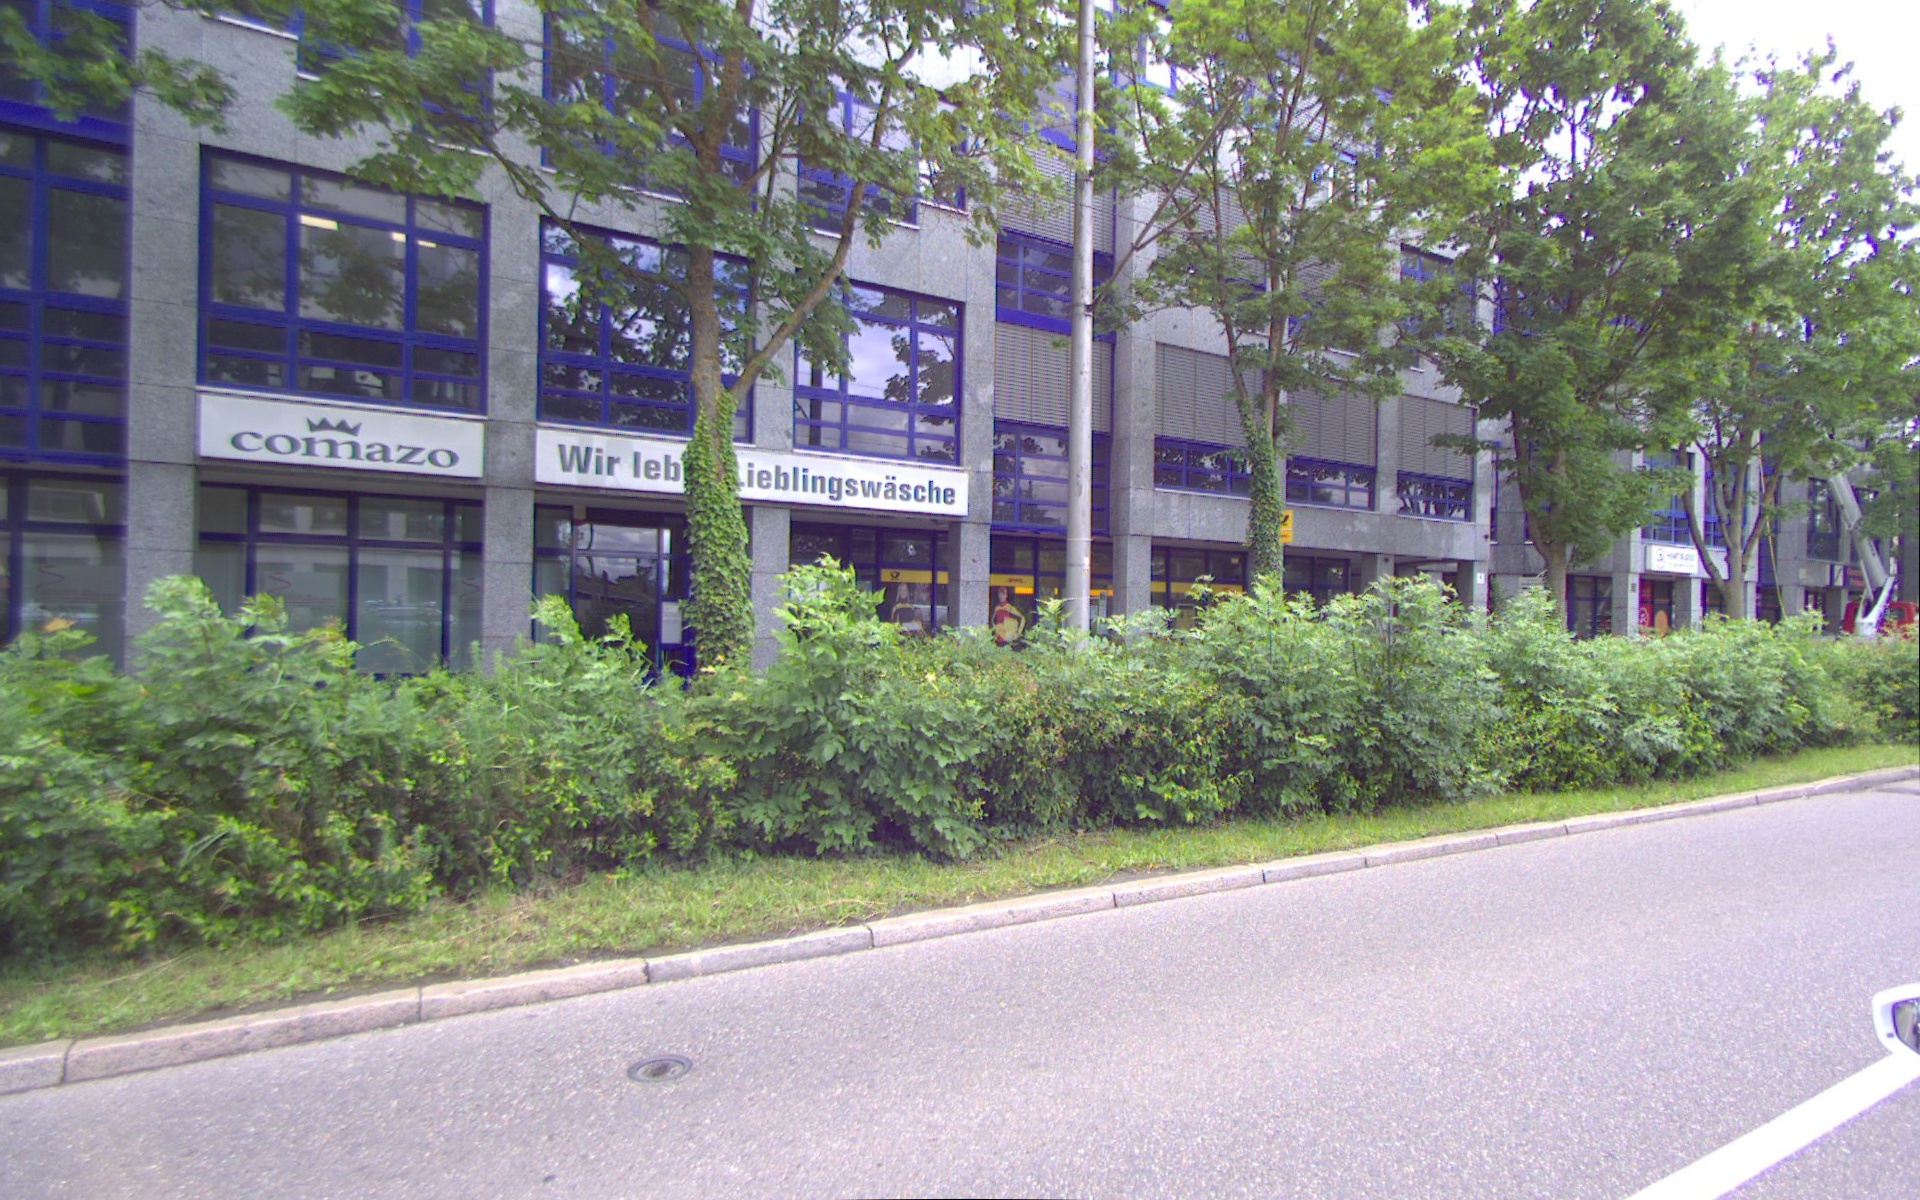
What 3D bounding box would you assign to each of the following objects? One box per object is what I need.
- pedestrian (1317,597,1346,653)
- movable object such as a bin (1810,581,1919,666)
[{"bbox_3d":[9.191,0.616,24.849,0.552,1.352,0.362,0,3,-35],"label":"pedestrian"},{"bbox_3d":[29.429,0.753,32.312,4.080,2.565,1.895,1,1,-31],"label":"movable object such as a bin"}]
